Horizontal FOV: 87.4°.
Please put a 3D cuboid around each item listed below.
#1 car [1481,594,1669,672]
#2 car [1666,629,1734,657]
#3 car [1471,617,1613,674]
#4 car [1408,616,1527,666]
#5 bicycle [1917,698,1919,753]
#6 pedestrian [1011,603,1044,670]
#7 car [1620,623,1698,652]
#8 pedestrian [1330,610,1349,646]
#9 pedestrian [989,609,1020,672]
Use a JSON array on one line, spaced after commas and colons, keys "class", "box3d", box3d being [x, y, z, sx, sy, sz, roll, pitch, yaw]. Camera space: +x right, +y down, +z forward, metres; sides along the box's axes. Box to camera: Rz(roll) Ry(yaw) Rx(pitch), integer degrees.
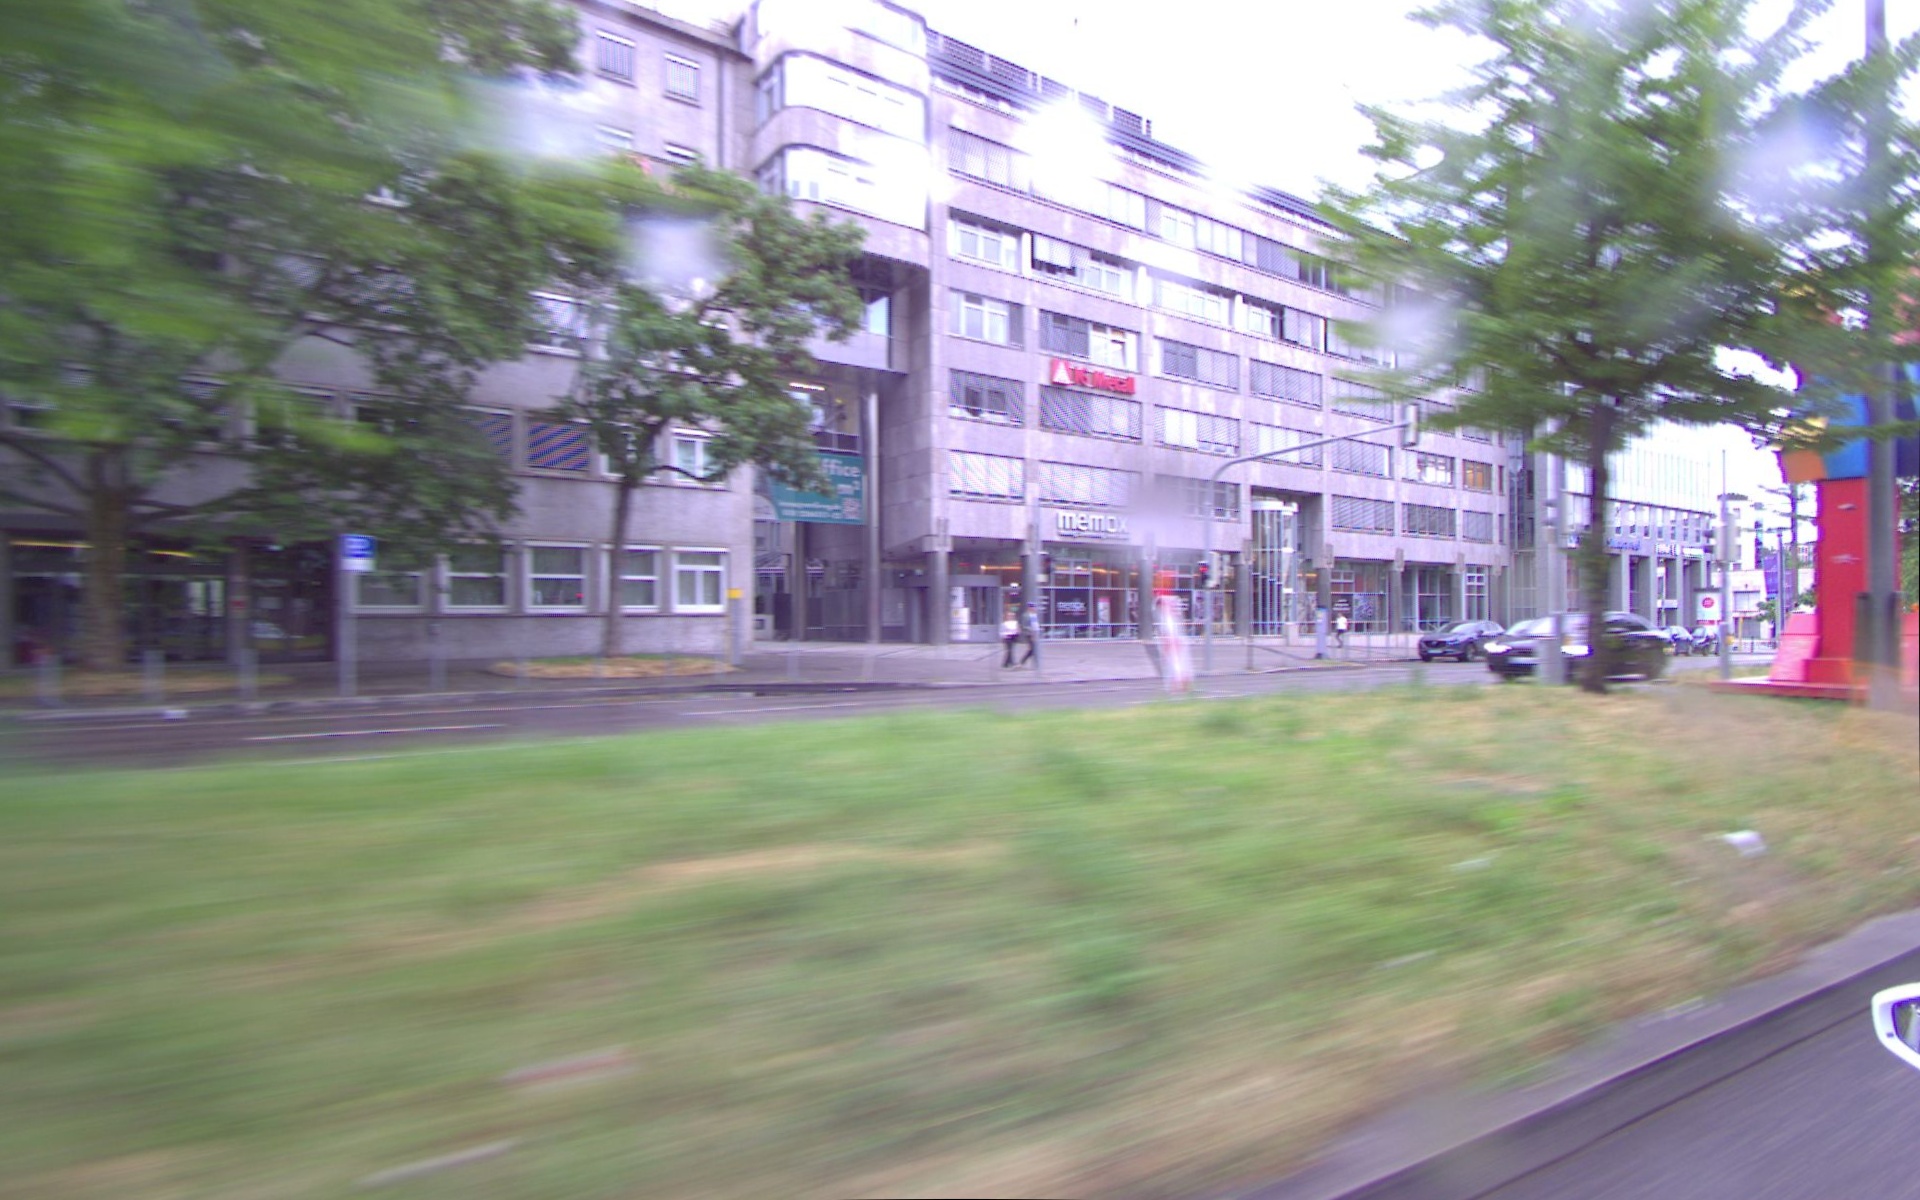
[{"class": "car", "box3d": [13.113, 0.703, 21.318, 4.681, 1.486, 1.777, 1, -3, -37]}, {"class": "car", "box3d": [39.046, 2.229, 52.981, 3.977, 1.420, 1.764, 1, -2, -36]}, {"class": "car", "box3d": [15.771, 1.220, 27.172, 3.959, 1.433, 1.779, 1, -3, -34]}, {"class": "car", "box3d": [18.981, 1.505, 37.507, 4.741, 1.748, 1.851, 1, -2, -33]}, {"class": "bicycle", "box3d": [11.496, 1.170, 10.520, 0.768, 1.154, 1.963, 1, 2, -29]}, {"class": "pedestrian", "box3d": [1.847, 0.985, 27.526, 0.713, 1.811, 0.525, 1, 0, -29]}, {"class": "car", "box3d": [34.456, 1.839, 49.460, 4.435, 1.343, 1.878, 2, -2, -37]}, {"class": "pedestrian", "box3d": [19.259, 1.434, 51.009, 0.523, 1.811, 0.715, 1, -1, -32]}, {"class": "pedestrian", "box3d": [1.201, 1.084, 27.172, 0.615, 1.651, 0.599, 1, -1, -43]}]
